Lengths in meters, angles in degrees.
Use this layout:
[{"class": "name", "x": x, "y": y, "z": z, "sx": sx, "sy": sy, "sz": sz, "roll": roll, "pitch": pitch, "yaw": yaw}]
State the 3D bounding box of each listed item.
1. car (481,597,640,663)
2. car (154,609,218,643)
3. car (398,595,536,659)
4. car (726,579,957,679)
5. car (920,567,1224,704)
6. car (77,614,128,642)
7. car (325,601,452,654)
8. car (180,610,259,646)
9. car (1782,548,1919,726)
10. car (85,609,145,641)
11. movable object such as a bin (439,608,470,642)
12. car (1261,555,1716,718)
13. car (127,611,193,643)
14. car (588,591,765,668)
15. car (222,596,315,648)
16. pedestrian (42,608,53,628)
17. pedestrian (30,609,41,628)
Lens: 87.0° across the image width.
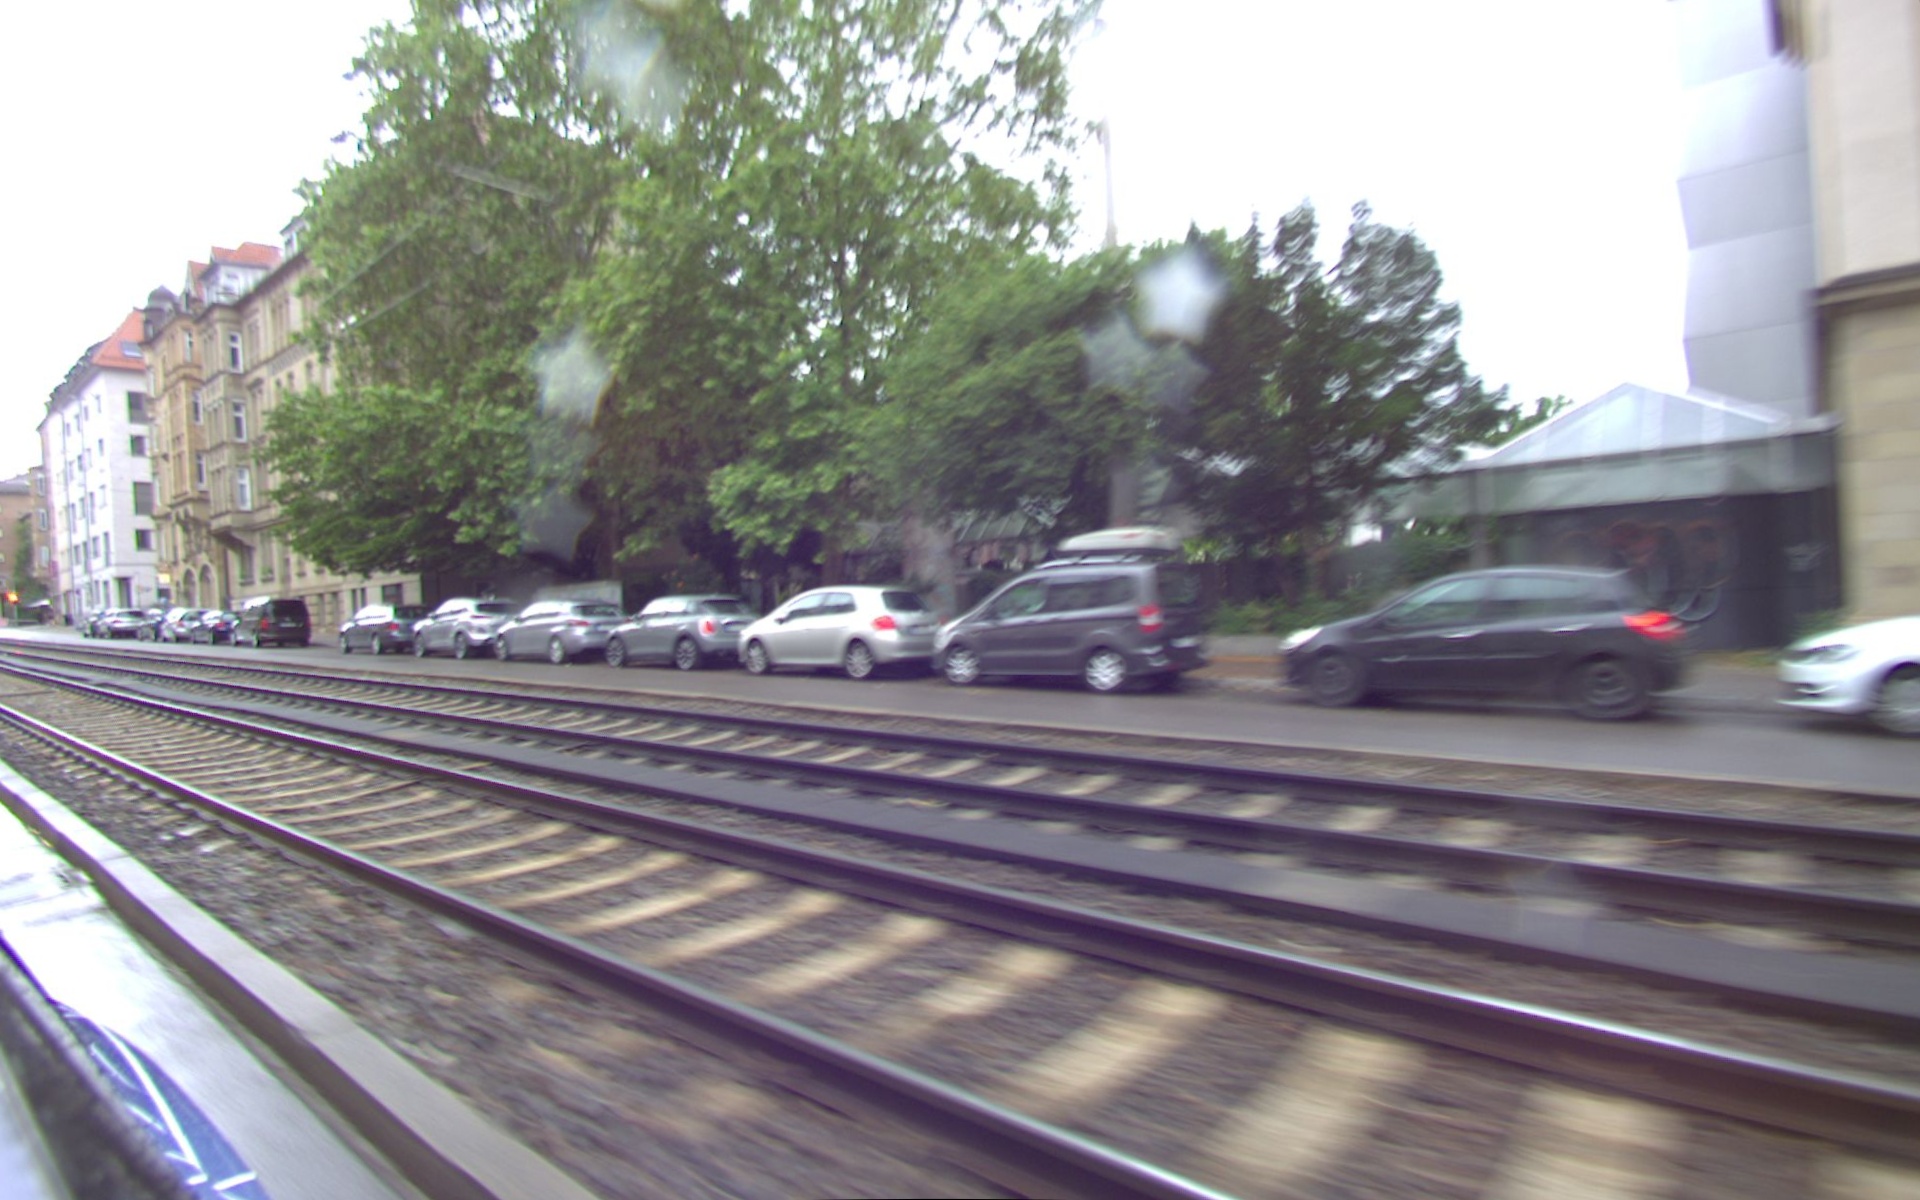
[{"class": "car", "x": -9.435, "y": 0.694, "z": 23.746, "sx": 4.150, "sy": 1.424, "sz": 1.736, "roll": -1, "pitch": -2, "yaw": 40}, {"class": "car", "x": -35.927, "y": 1.191, "z": 46.941, "sx": 3.853, "sy": 1.535, "sz": 1.677, "roll": -1, "pitch": -1, "yaw": 42}, {"class": "car", "x": -13.181, "y": 0.706, "z": 26.940, "sx": 4.541, "sy": 1.548, "sz": 1.735, "roll": -1, "pitch": -2, "yaw": 42}, {"class": "car", "x": -2.116, "y": 0.484, "z": 17.298, "sx": 4.151, "sy": 1.517, "sz": 1.523, "roll": -1, "pitch": -2, "yaw": 40}, {"class": "car", "x": 1.452, "y": 0.474, "z": 14.149, "sx": 4.069, "sy": 1.655, "sz": 1.560, "roll": -1, "pitch": -2, "yaw": 40}, {"class": "car", "x": -51.132, "y": 1.657, "z": 60.329, "sx": 4.429, "sy": 1.614, "sz": 1.838, "roll": -1, "pitch": -1, "yaw": 43}, {"class": "car", "x": -17.208, "y": 0.814, "z": 30.385, "sx": 4.546, "sy": 1.475, "sz": 1.831, "roll": -1, "pitch": -2, "yaw": 39}, {"class": "car", "x": -31.546, "y": 1.179, "z": 43.071, "sx": 4.266, "sy": 1.409, "sz": 1.744, "roll": -1, "pitch": -1, "yaw": 40}, {"class": "car", "x": 8.903, "y": 0.281, "z": 7.729, "sx": 3.986, "sy": 1.401, "sz": 1.484, "roll": -1, "pitch": -2, "yaw": 42}, {"class": "car", "x": -47.477, "y": 1.378, "z": 56.808, "sx": 4.311, "sy": 1.665, "sz": 1.840, "roll": -1, "pitch": 0, "yaw": 40}, {"class": "movable object such as a bin", "x": -17.697, "y": 0.868, "z": 35.432, "sx": 0.773, "sy": 1.128, "sz": 0.709, "roll": -1, "pitch": 1, "yaw": 43}, {"class": "car", "x": 5.459, "y": 0.360, "z": 10.775, "sx": 4.009, "sy": 1.424, "sz": 1.657, "roll": -1, "pitch": -2, "yaw": 42}, {"class": "car", "x": -39.827, "y": 1.321, "z": 50.360, "sx": 4.167, "sy": 1.519, "sz": 1.851, "roll": -1, "pitch": 0, "yaw": 41}, {"class": "car", "x": -5.811, "y": 0.583, "z": 20.547, "sx": 3.950, "sy": 1.424, "sz": 1.523, "roll": -1, "pitch": -2, "yaw": 40}, {"class": "car", "x": -26.477, "y": 0.826, "z": 38.695, "sx": 4.816, "sy": 1.861, "sz": 1.782, "roll": -1, "pitch": -1, "yaw": 41}, {"class": "pedestrian", "x": -82.403, "y": 1.601, "z": 91.354, "sx": 0.658, "sy": 1.731, "sz": 0.595, "roll": -1, "pitch": 3, "yaw": 44}, {"class": "pedestrian", "x": -82.850, "y": 1.662, "z": 90.683, "sx": 0.746, "sy": 1.731, "sz": 0.595, "roll": -1, "pitch": 3, "yaw": 44}]
